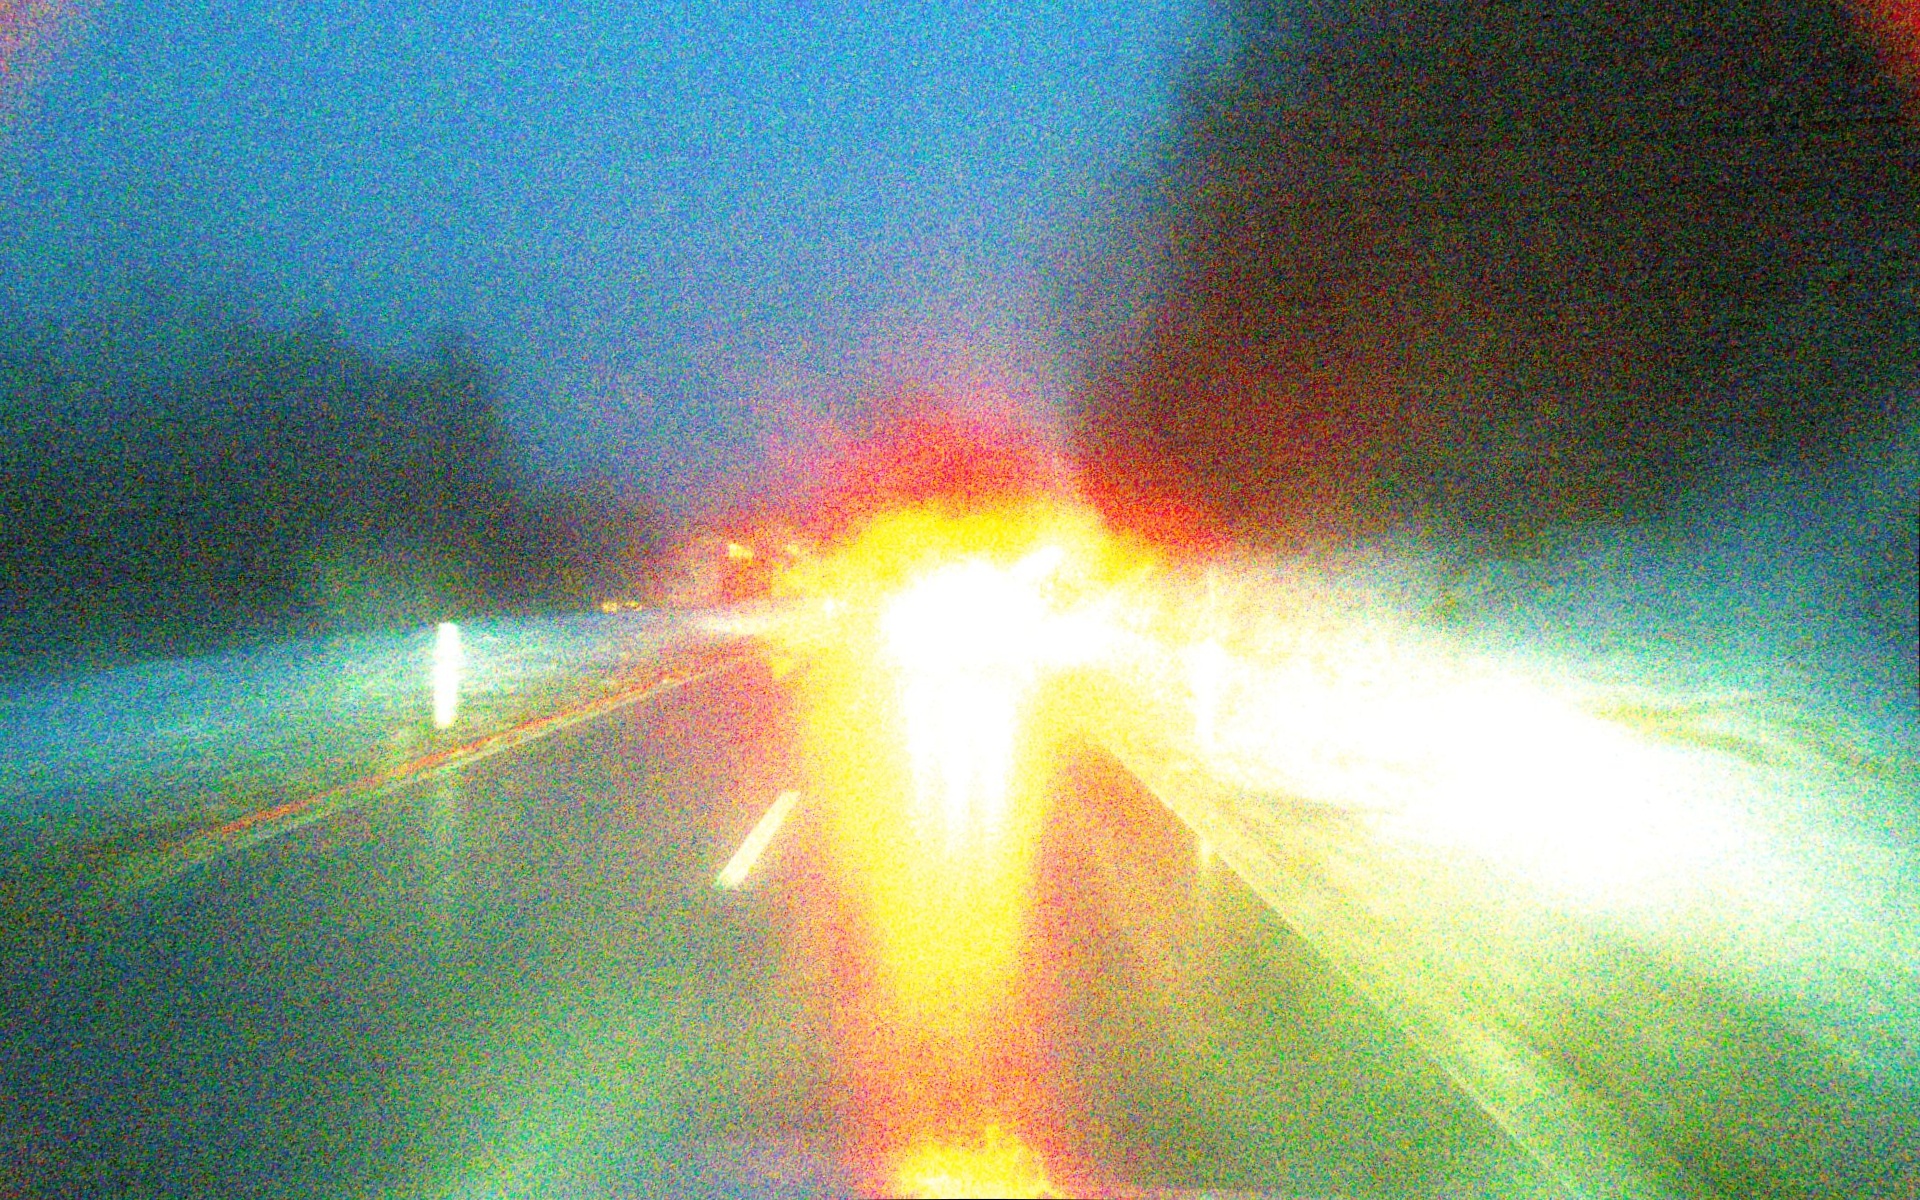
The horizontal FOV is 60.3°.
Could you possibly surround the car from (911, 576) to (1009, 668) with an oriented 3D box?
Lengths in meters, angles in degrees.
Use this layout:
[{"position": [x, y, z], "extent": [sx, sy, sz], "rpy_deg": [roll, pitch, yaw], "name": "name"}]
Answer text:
[{"position": [-0.041, 0.390, 31.884], "extent": [1.765, 1.657, 3.614], "rpy_deg": [1, 0, -1], "name": "car"}]
